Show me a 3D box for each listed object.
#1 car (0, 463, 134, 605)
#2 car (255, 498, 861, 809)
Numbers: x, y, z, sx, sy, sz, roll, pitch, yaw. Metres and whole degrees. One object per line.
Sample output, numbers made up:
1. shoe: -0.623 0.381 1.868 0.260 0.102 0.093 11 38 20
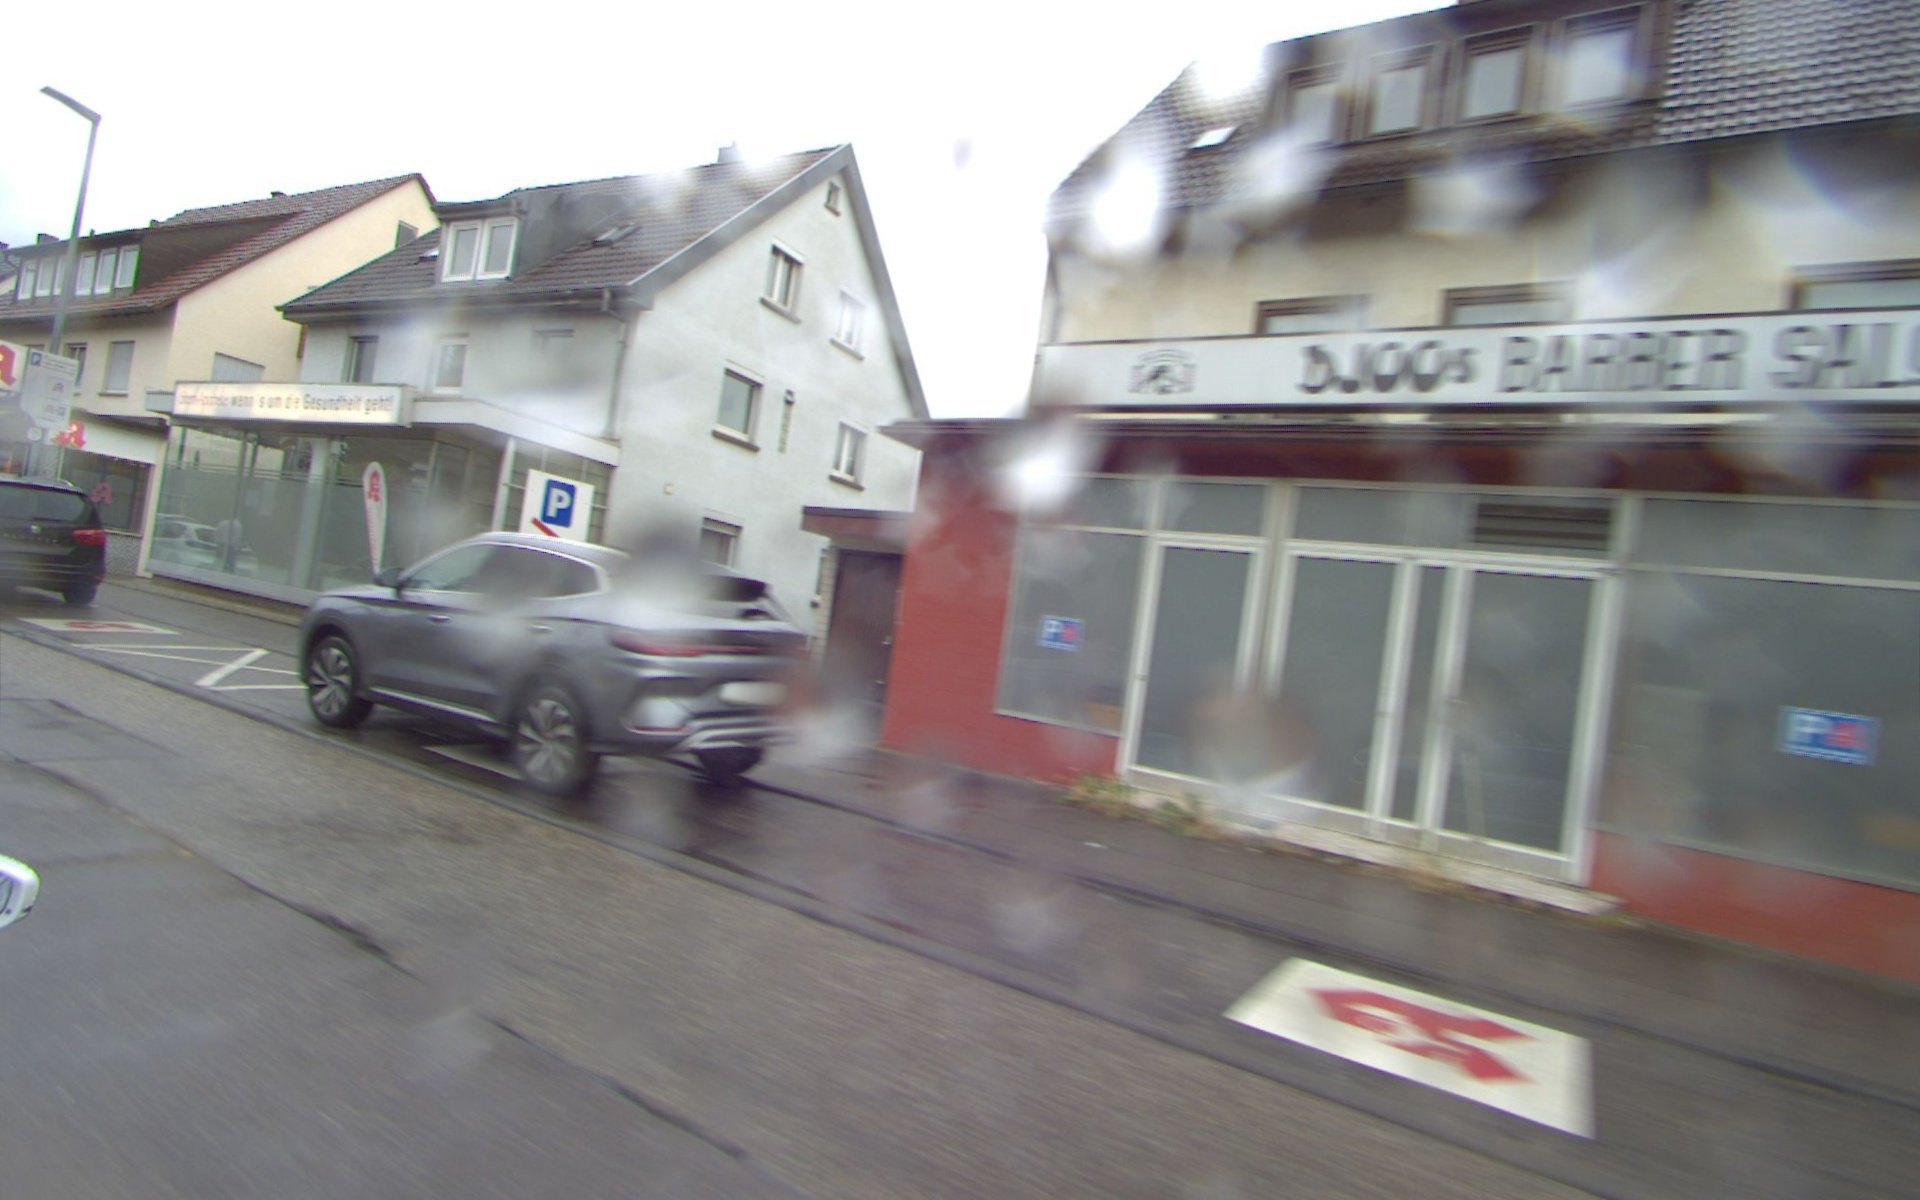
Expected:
1. car: -14.132 -1.071 14.426 4.882 1.716 2.038 6 0 32
2. car: -3.312 0.262 7.995 4.712 1.663 1.877 6 0 31
